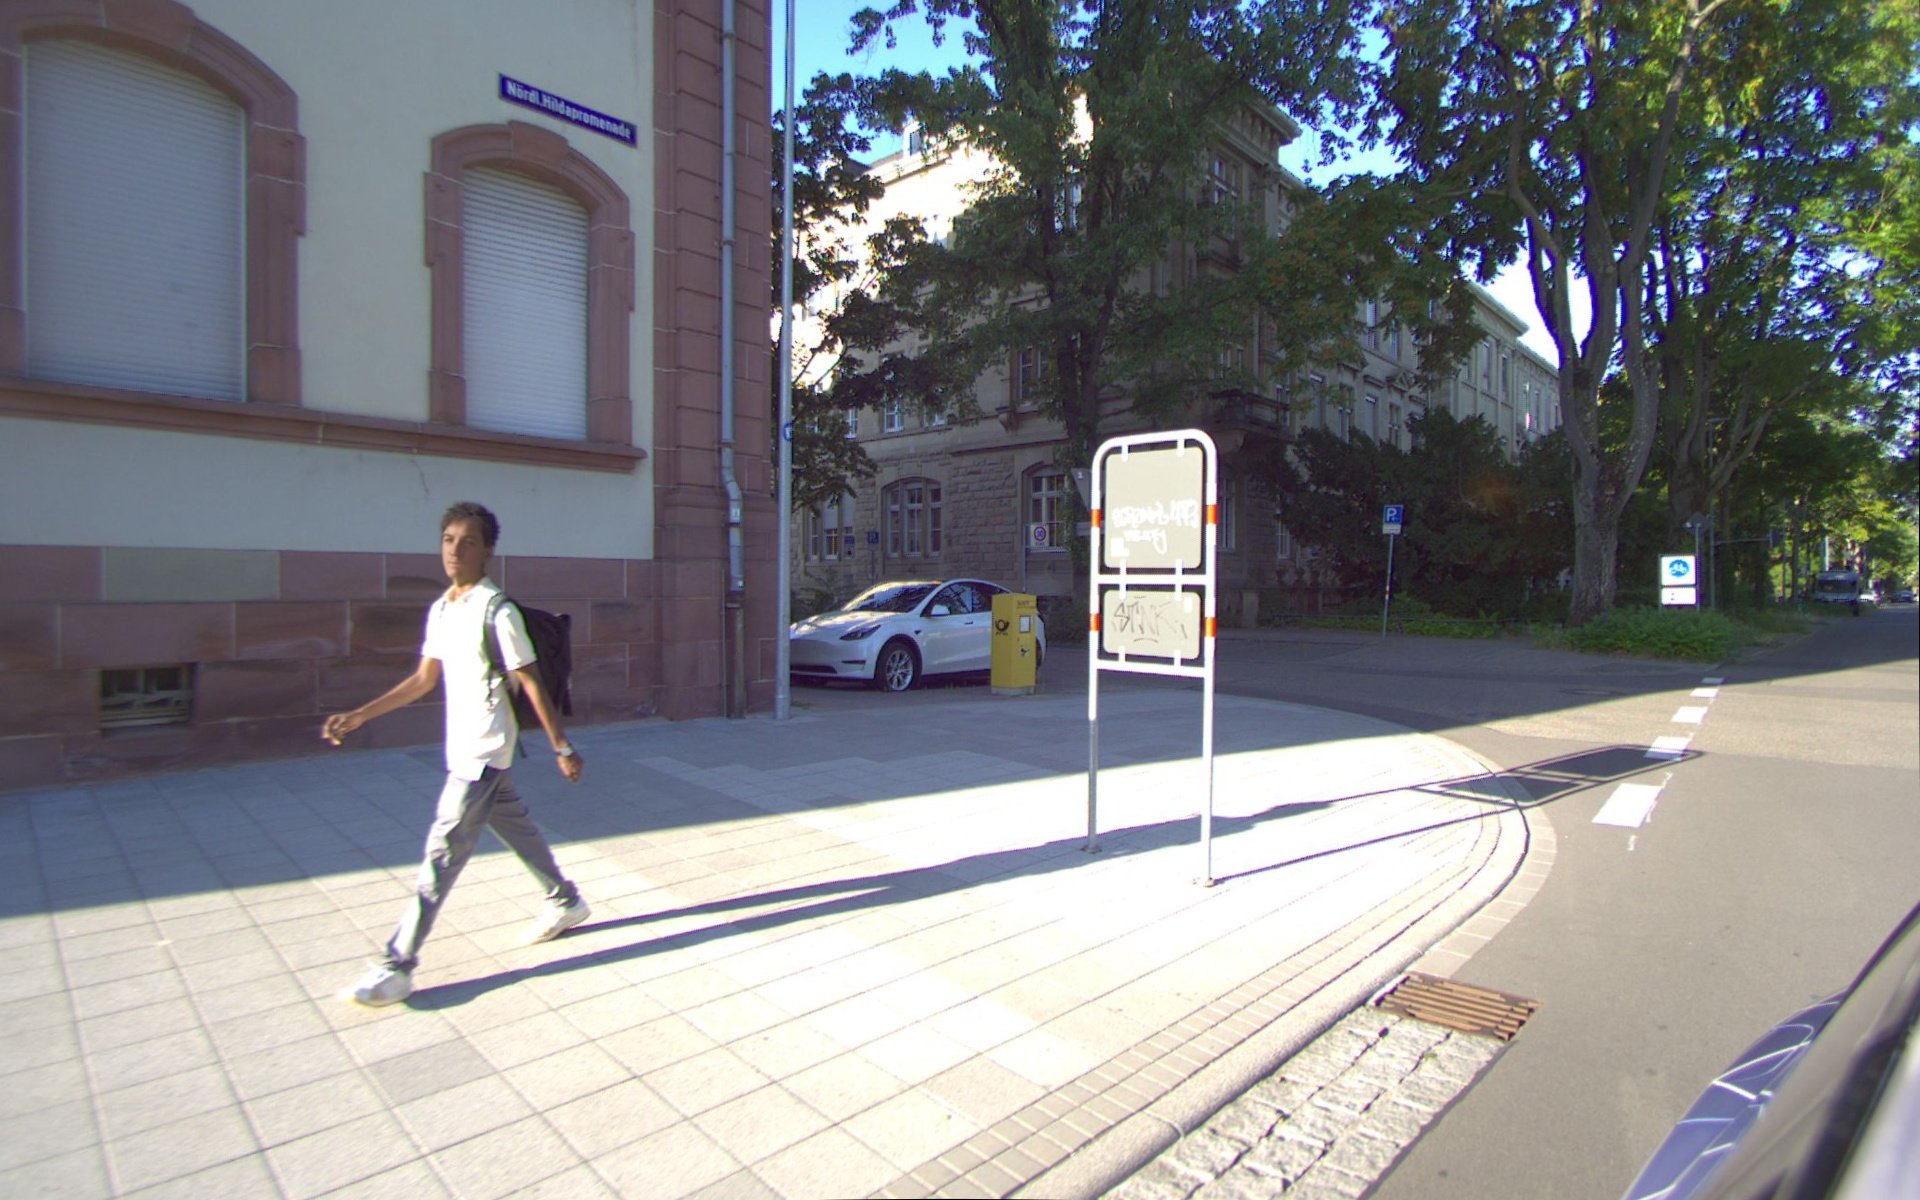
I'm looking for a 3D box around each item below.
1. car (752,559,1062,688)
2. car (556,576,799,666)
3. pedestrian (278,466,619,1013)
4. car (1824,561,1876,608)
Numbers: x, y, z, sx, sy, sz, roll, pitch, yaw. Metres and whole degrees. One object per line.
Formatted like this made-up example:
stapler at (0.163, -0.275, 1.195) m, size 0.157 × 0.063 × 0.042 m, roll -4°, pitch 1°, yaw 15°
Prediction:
car at (-0.611, 0.345, 15.042) m, size 1.958 × 1.609 × 4.653 m, roll 1°, pitch -1°, yaw 39°
car at (-5.523, 0.423, 20.247) m, size 1.958 × 1.605 × 4.329 m, roll 1°, pitch -1°, yaw 39°
pedestrian at (-1.867, 0.430, 3.743) m, size 0.532 × 1.740 × 0.987 m, roll 4°, pitch 3°, yaw 43°
car at (51.463, -0.882, 58.509) m, size 4.097 × 2.632 × 1.948 m, roll -1°, pitch 1°, yaw -44°
